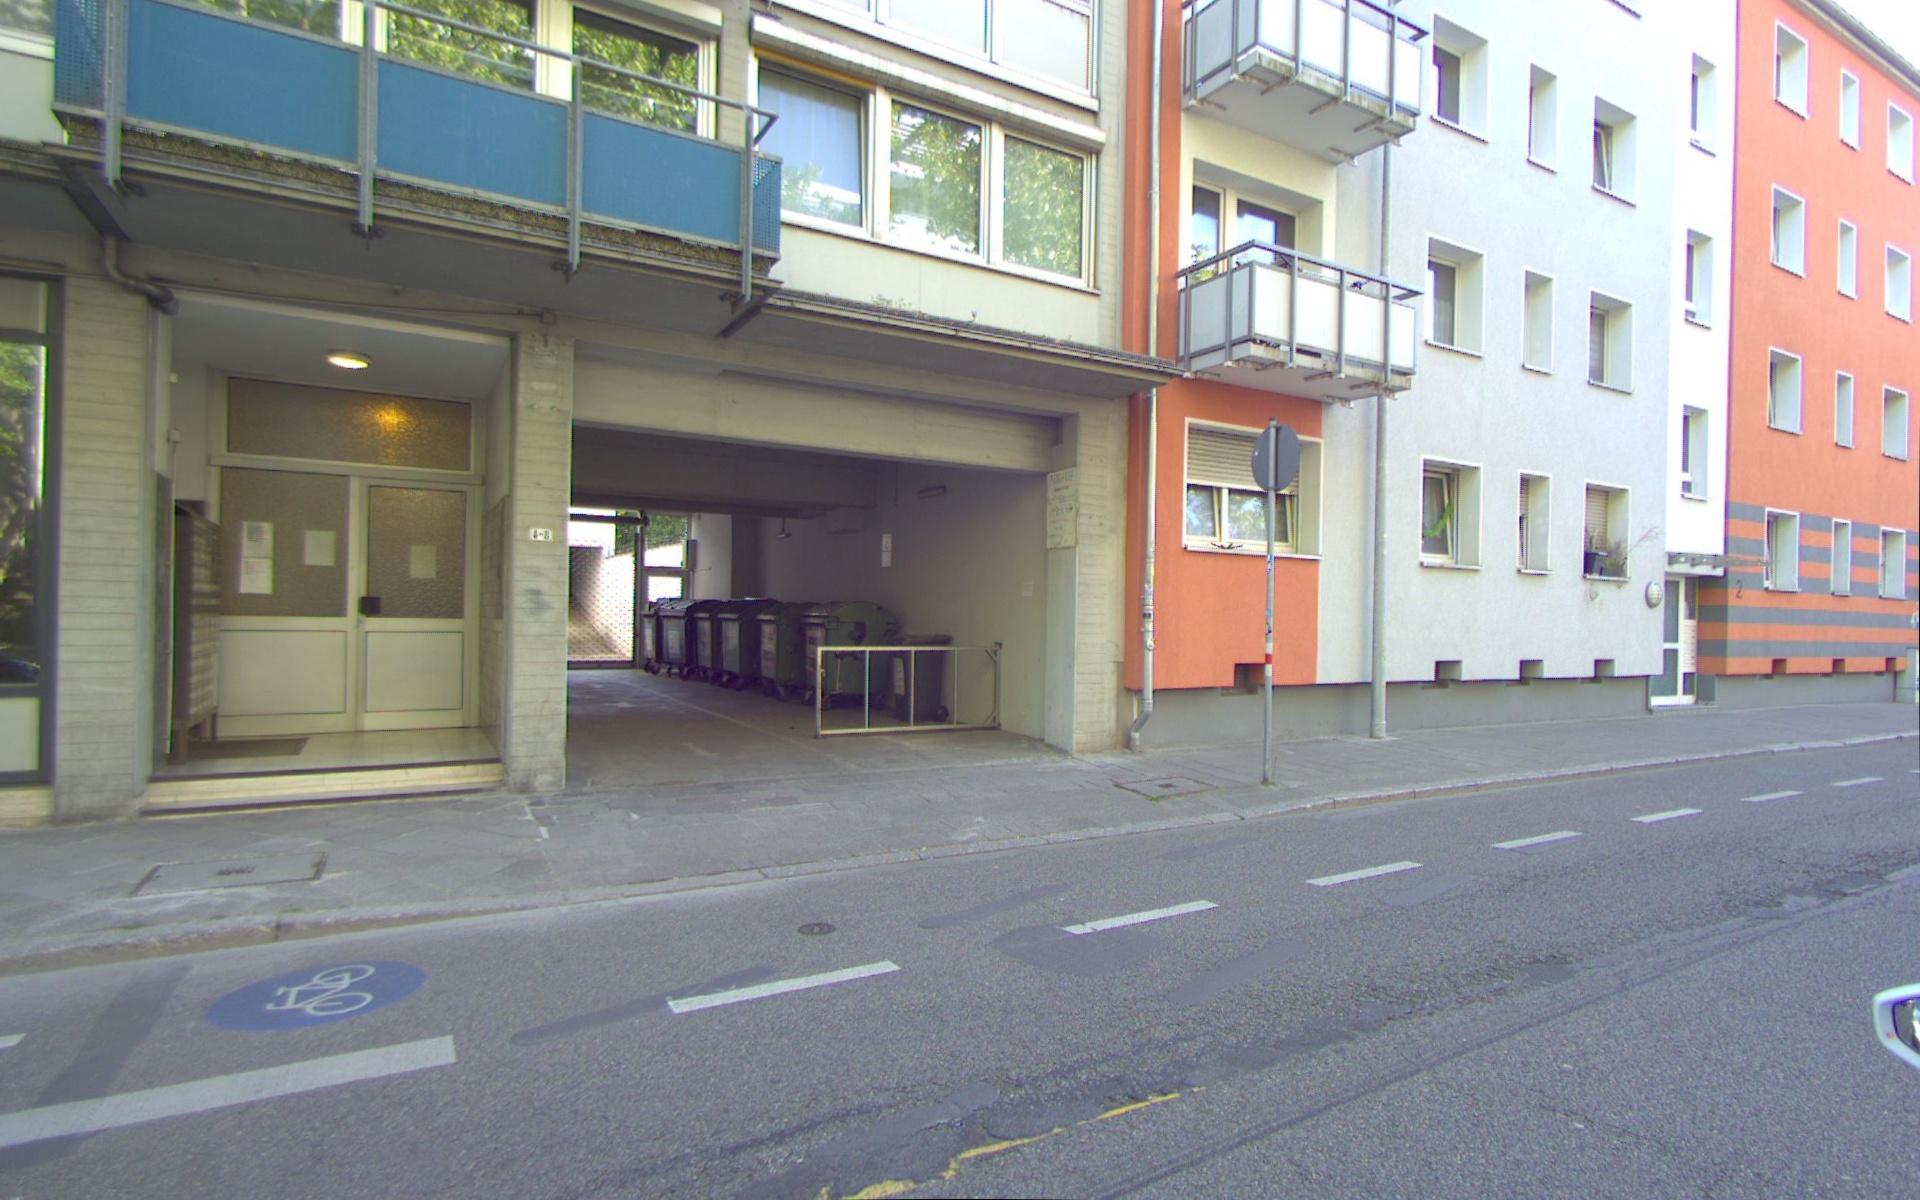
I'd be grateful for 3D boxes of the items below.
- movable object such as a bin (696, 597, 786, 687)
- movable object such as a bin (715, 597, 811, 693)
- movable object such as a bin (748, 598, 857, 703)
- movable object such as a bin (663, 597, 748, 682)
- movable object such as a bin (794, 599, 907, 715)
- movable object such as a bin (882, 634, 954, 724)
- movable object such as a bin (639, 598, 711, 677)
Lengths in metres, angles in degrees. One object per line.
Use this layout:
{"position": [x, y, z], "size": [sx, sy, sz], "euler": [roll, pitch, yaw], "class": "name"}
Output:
{"position": [-3.886, 0.729, 17.751], "size": [1.264, 1.515, 1.155], "euler": [2, 0, -28], "class": "movable object such as a bin"}
{"position": [-3.283, 0.728, 16.703], "size": [1.264, 1.506, 1.155], "euler": [2, 0, -28], "class": "movable object such as a bin"}
{"position": [-2.386, 0.736, 15.167], "size": [1.264, 1.493, 1.265], "euler": [2, -1, -28], "class": "movable object such as a bin"}
{"position": [-4.751, 0.722, 18.694], "size": [1.264, 1.506, 1.155], "euler": [2, 0, -28], "class": "movable object such as a bin"}
{"position": [-1.520, 0.757, 13.813], "size": [1.128, 1.484, 1.255], "euler": [2, 0, -28], "class": "movable object such as a bin"}
{"position": [-0.521, 0.962, 12.461], "size": [0.694, 1.061, 0.567], "euler": [2, 0, -28], "class": "movable object such as a bin"}
{"position": [-5.670, 0.732, 19.950], "size": [1.128, 1.484, 1.129], "euler": [2, 0, -28], "class": "movable object such as a bin"}
